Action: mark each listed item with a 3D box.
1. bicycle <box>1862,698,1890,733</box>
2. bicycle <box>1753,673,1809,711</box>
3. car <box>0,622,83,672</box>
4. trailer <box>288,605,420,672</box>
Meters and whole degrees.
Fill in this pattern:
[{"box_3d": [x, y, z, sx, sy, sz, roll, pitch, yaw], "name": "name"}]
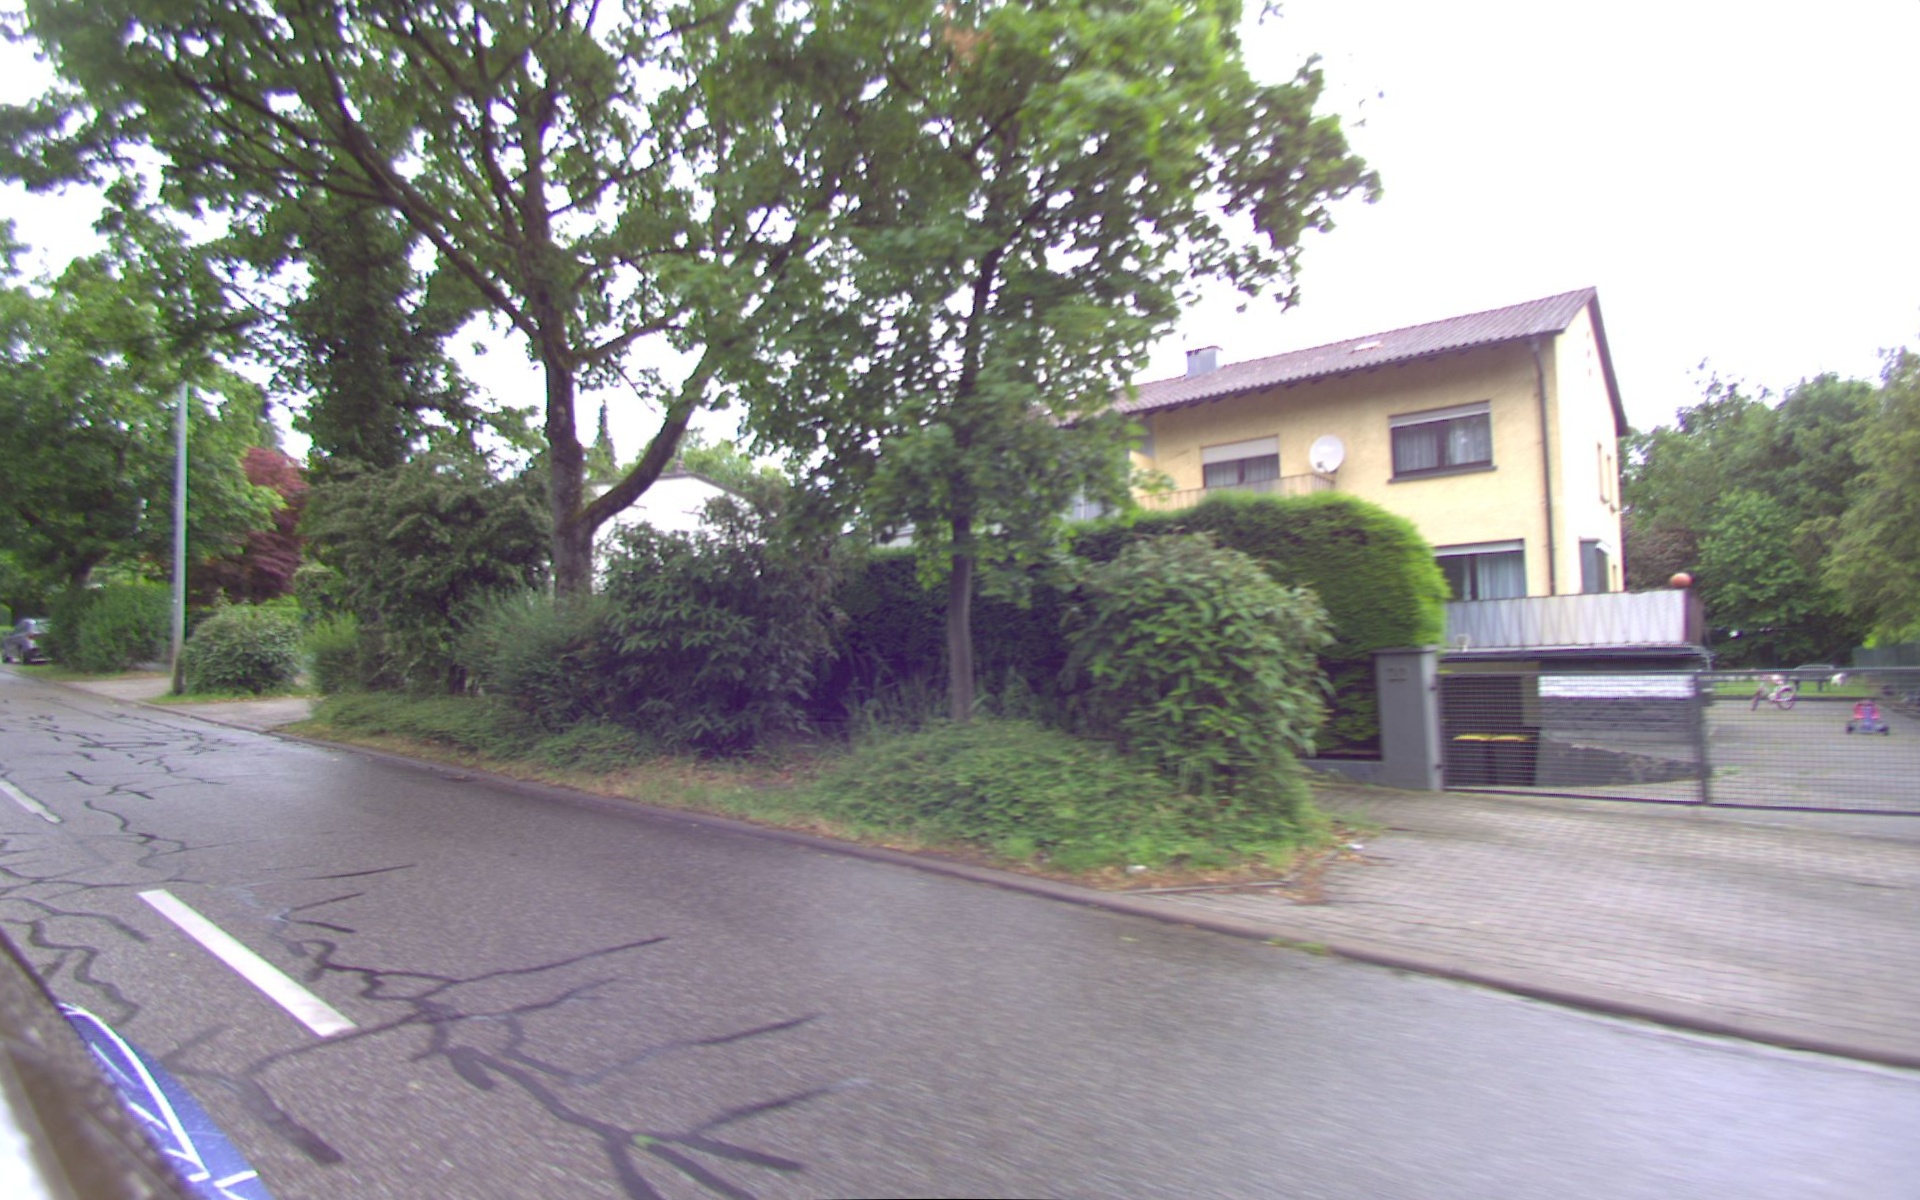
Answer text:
[{"box_3d": [15.156, 1.910, 16.752, 0.294, 0.521, 0.799, -3, -4, 40], "name": "bicycle"}, {"box_3d": [19.107, 2.139, 23.557, 0.968, 0.877, 0.366, 0, -3, 1], "name": "bicycle"}, {"box_3d": [-32.213, 1.602, 35.242, 4.276, 1.554, 1.648, -1, 1, 37], "name": "car"}, {"box_3d": [-18.800, 1.261, 31.494, 1.421, 1.813, 3.091, -3, -8, 34], "name": "trailer"}]
